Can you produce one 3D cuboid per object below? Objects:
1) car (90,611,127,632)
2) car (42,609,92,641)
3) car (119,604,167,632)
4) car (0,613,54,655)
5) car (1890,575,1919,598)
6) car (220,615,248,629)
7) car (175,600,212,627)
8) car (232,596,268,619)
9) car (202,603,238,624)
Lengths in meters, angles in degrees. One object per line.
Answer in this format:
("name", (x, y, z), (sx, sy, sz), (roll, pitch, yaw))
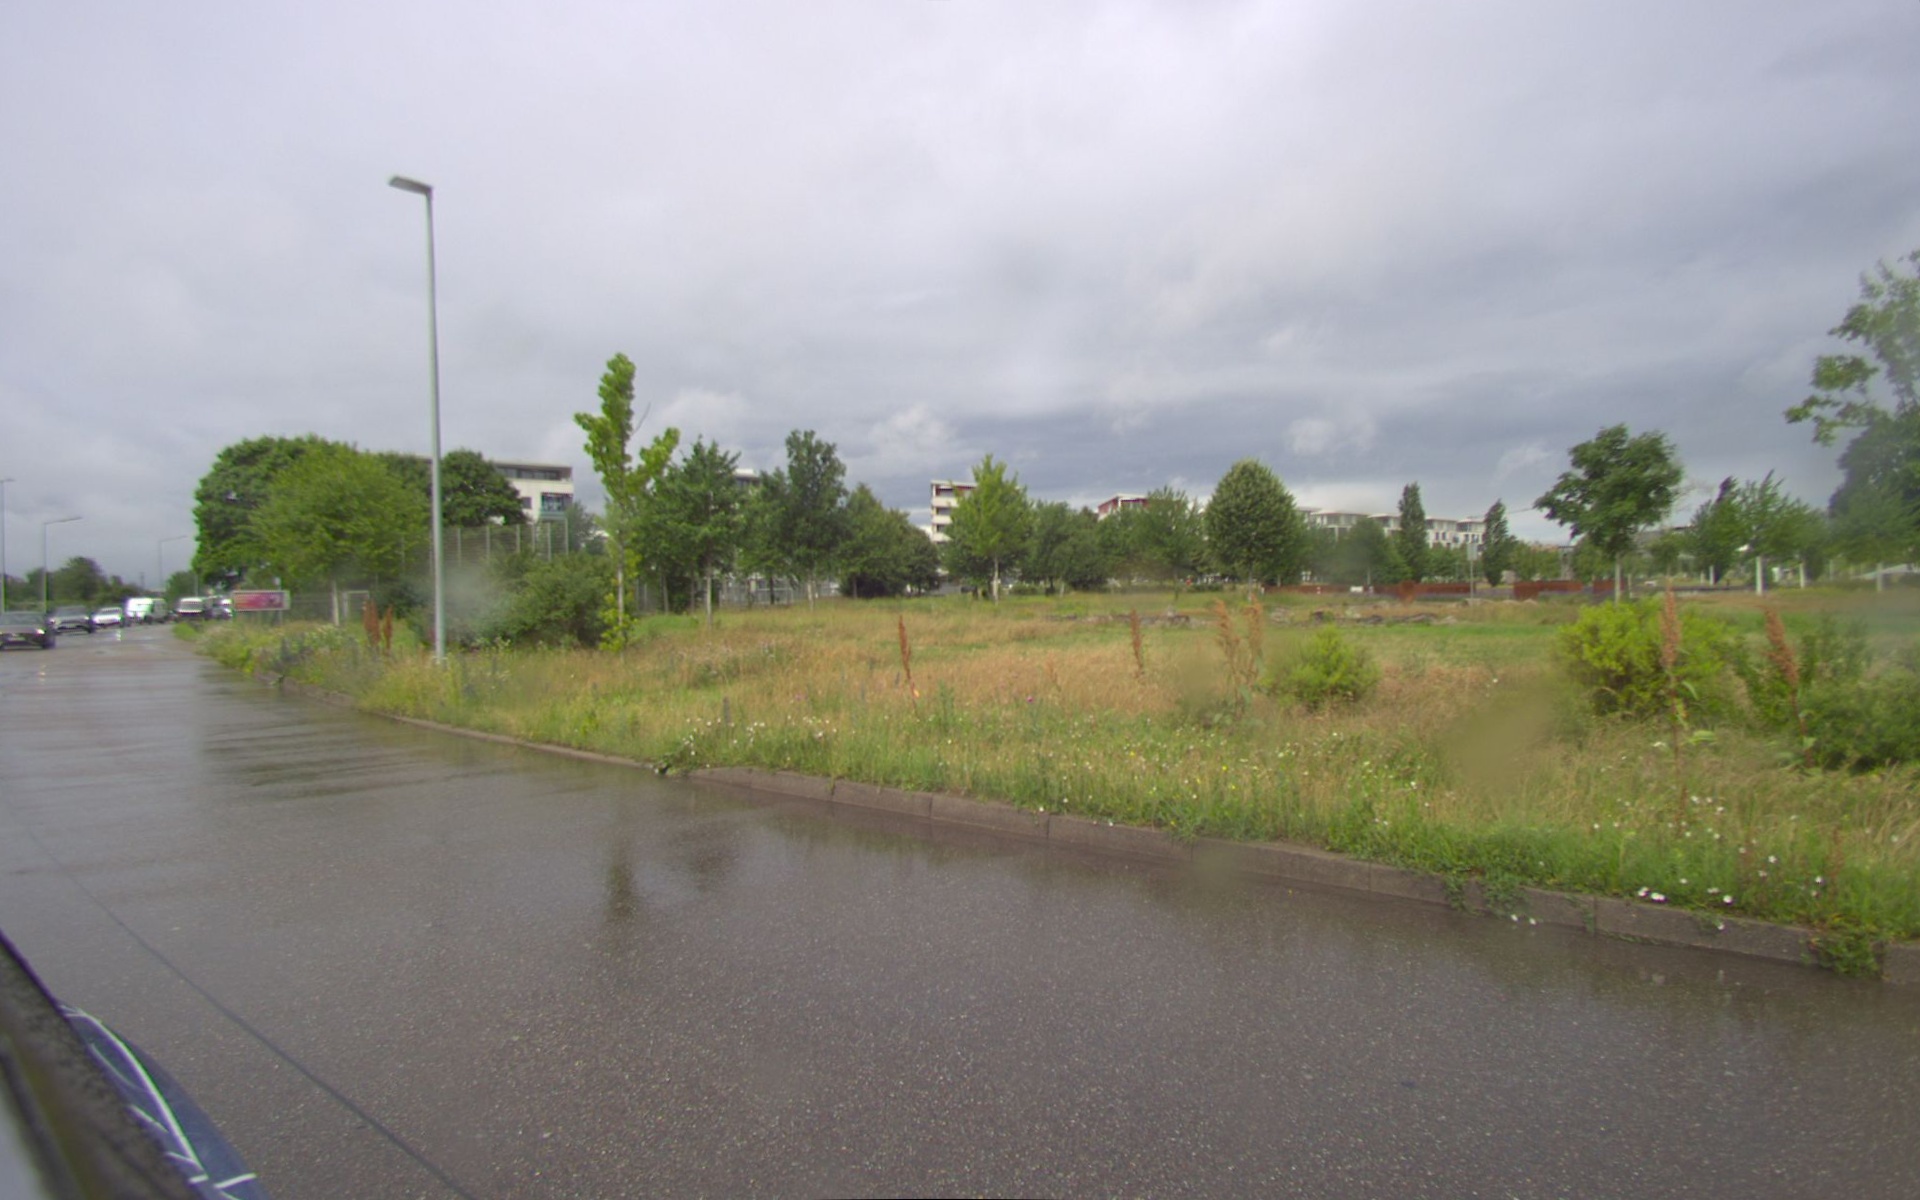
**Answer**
("car", (-65.589, 1.617, 77.998), (1.812, 1.530, 4.368), (-1, 0, -35))
("car", (-52.014, 1.428, 59.015), (1.980, 1.718, 4.336), (-3, 1, -40))
("car", (-78.034, 1.683, 96.741), (2.062, 2.491, 5.967), (0, 0, -24))
("car", (-36.143, 1.256, 38.818), (1.845, 1.530, 4.364), (2, -2, -40))
("car", (75.350, -1.064, 79.478), (1.986, 1.719, 3.972), (-1, 0, 21))
("car", (-83.612, 2.508, 116.585), (1.811, 1.530, 4.371), (-1, 0, -26))
("car", (-85.312, 1.455, 112.671), (2.114, 2.905, 5.293), (2, -1, -25))
("car", (-96.244, 1.017, 137.241), (2.436, 2.978, 6.909), (0, 0, -21))
("car", (-91.374, 1.667, 125.073), (2.039, 2.548, 6.679), (0, -1, -22))
